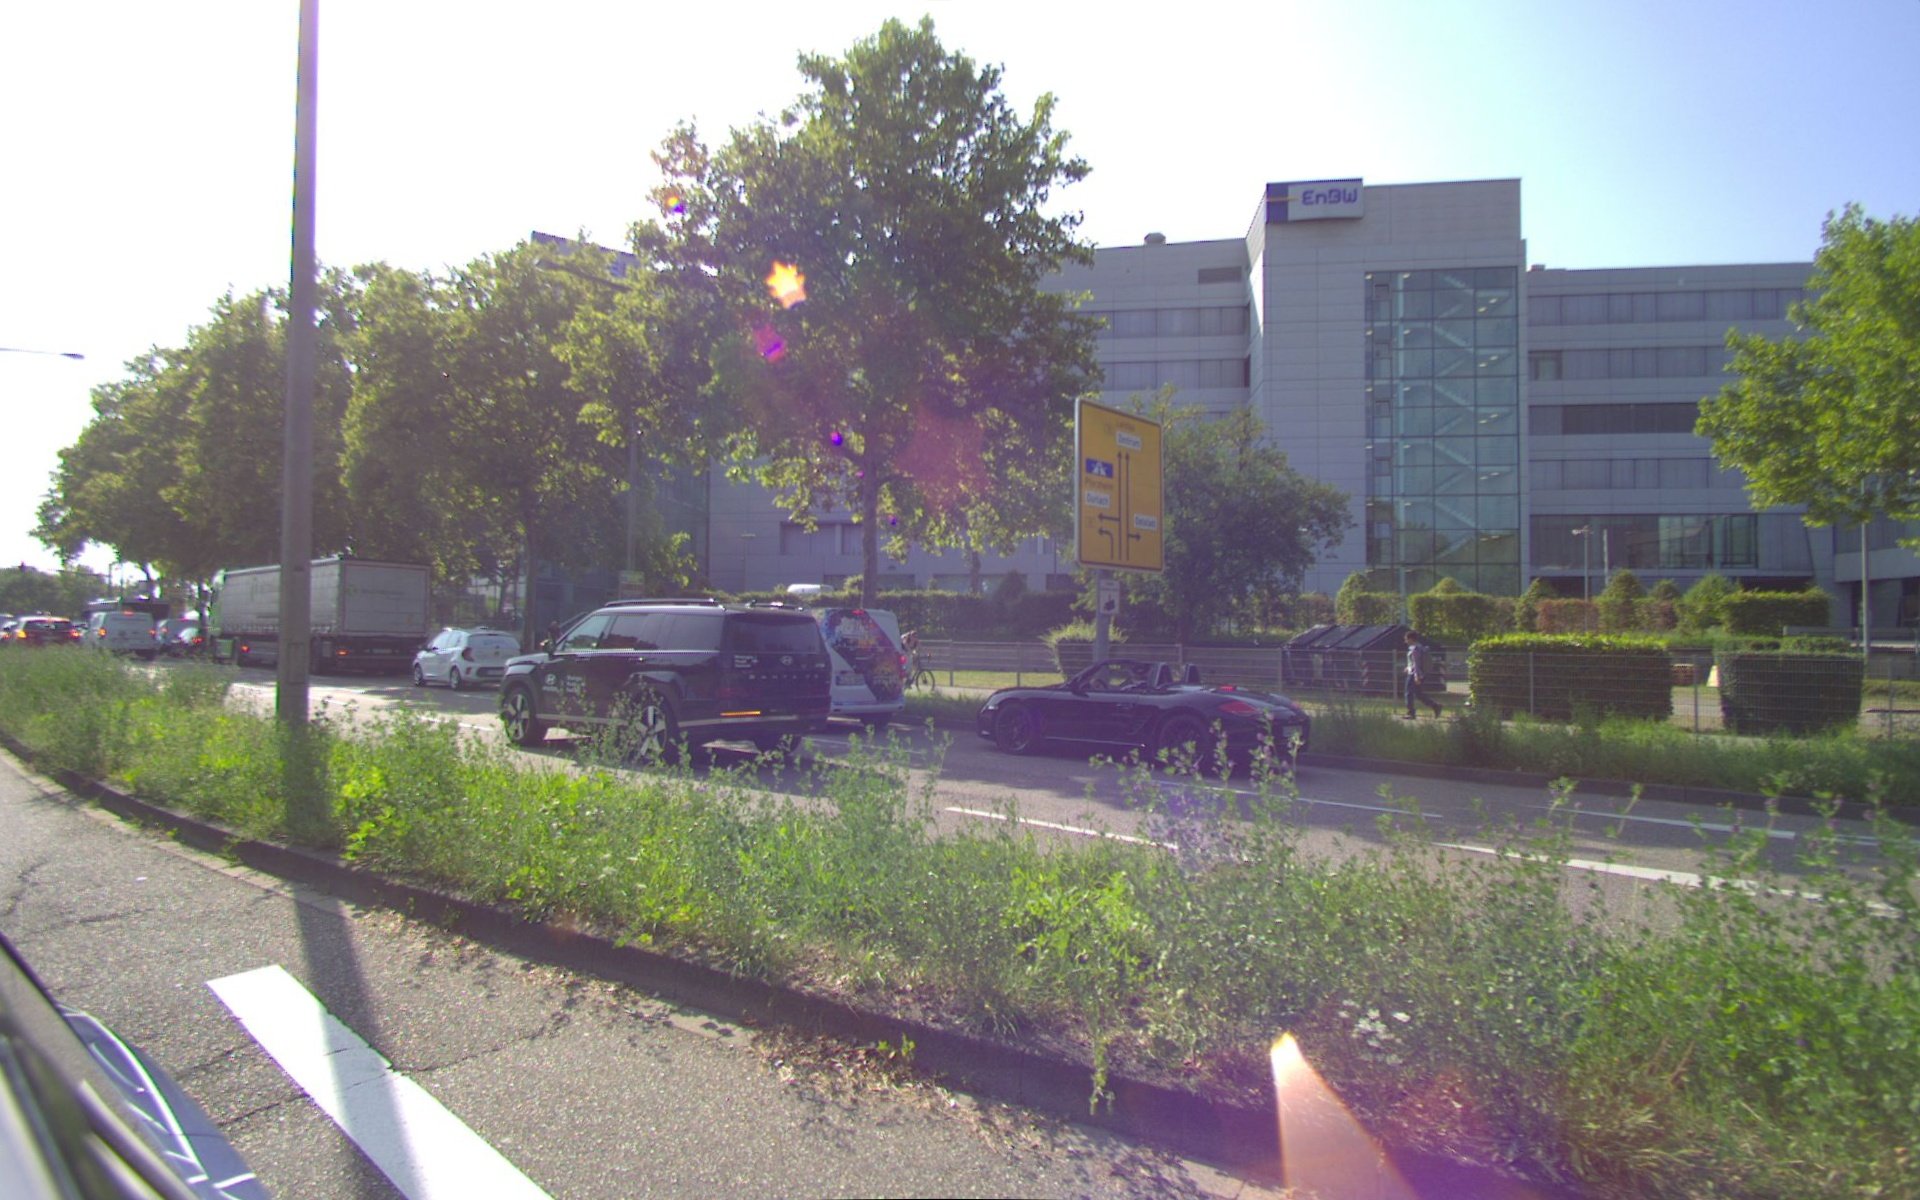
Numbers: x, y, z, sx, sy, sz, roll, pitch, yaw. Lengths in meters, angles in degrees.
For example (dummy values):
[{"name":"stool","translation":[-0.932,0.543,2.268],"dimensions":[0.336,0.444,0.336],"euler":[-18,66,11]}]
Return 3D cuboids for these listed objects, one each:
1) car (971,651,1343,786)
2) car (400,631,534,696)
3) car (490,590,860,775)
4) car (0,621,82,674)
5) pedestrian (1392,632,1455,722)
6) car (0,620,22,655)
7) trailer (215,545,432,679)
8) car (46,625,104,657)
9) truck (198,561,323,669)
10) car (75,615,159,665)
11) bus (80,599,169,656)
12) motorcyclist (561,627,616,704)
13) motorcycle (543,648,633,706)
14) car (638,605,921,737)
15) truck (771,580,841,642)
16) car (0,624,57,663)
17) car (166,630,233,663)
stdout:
[{"name":"car","translation":[2.228,1.292,12.153],"dimensions":[4.096,1.272,1.770],"euler":[-2,-4,44]},{"name":"car","translation":[-12.302,1.541,25.184],"dimensions":[3.831,1.490,1.727],"euler":[-2,-4,43]},{"name":"car","translation":[-3.470,0.880,11.931],"dimensions":[4.473,1.773,1.973],"euler":[-1,-4,40]},{"name":"car","translation":[-32.654,1.650,35.751],"dimensions":[4.586,1.737,1.933],"euler":[-2,-3,43]},{"name":"pedestrian","translation":[8.902,1.448,19.434],"dimensions":[0.933,1.665,0.610],"euler":[-2,-2,42]},{"name":"car","translation":[-53.886,2.066,56.386],"dimensions":[4.889,1.878,1.891],"euler":[-2,-3,42]},{"name":"trailer","translation":[-22.217,0.534,34.705],"dimensions":[13.809,3.851,2.605],"euler":[-1,-4,42]},{"name":"car","translation":[-44.684,2.066,51.057],"dimensions":[4.139,1.540,1.676],"euler":[-1,-4,42]},{"name":"truck","translation":[-27.173,0.659,39.210],"dimensions":[5.890,3.849,2.579],"euler":[-1,-4,42]},{"name":"car","translation":[-35.382,1.653,42.432],"dimensions":[5.035,1.968,1.972],"euler":[-1,-3,42]},{"name":"bus","translation":[-50.282,1.641,60.725],"dimensions":[12.312,3.103,2.562],"euler":[-1,-2,43]},{"name":"motorcyclist","translation":[-7.875,1.367,21.471],"dimensions":[0.922,1.566,0.769],"euler":[-2,-2,43]},{"name":"motorcycle","translation":[-7.941,1.600,21.527],"dimensions":[2.468,1.115,0.786],"euler":[-1,-2,43]},{"name":"car","translation":[-3.111,1.104,16.745],"dimensions":[4.969,1.873,1.963],"euler":[-1,-4,43]},{"name":"truck","translation":[-7.594,0.577,50.580],"dimensions":[2.210,2.883,5.897],"euler":[0,-1,4]},{"name":"car","translation":[-38.267,1.758,41.123],"dimensions":[4.584,1.490,1.728],"euler":[-1,-4,41]},{"name":"car","translation":[-35.367,2.132,47.030],"dimensions":[4.479,1.422,1.629],"euler":[-1,-4,42]}]
